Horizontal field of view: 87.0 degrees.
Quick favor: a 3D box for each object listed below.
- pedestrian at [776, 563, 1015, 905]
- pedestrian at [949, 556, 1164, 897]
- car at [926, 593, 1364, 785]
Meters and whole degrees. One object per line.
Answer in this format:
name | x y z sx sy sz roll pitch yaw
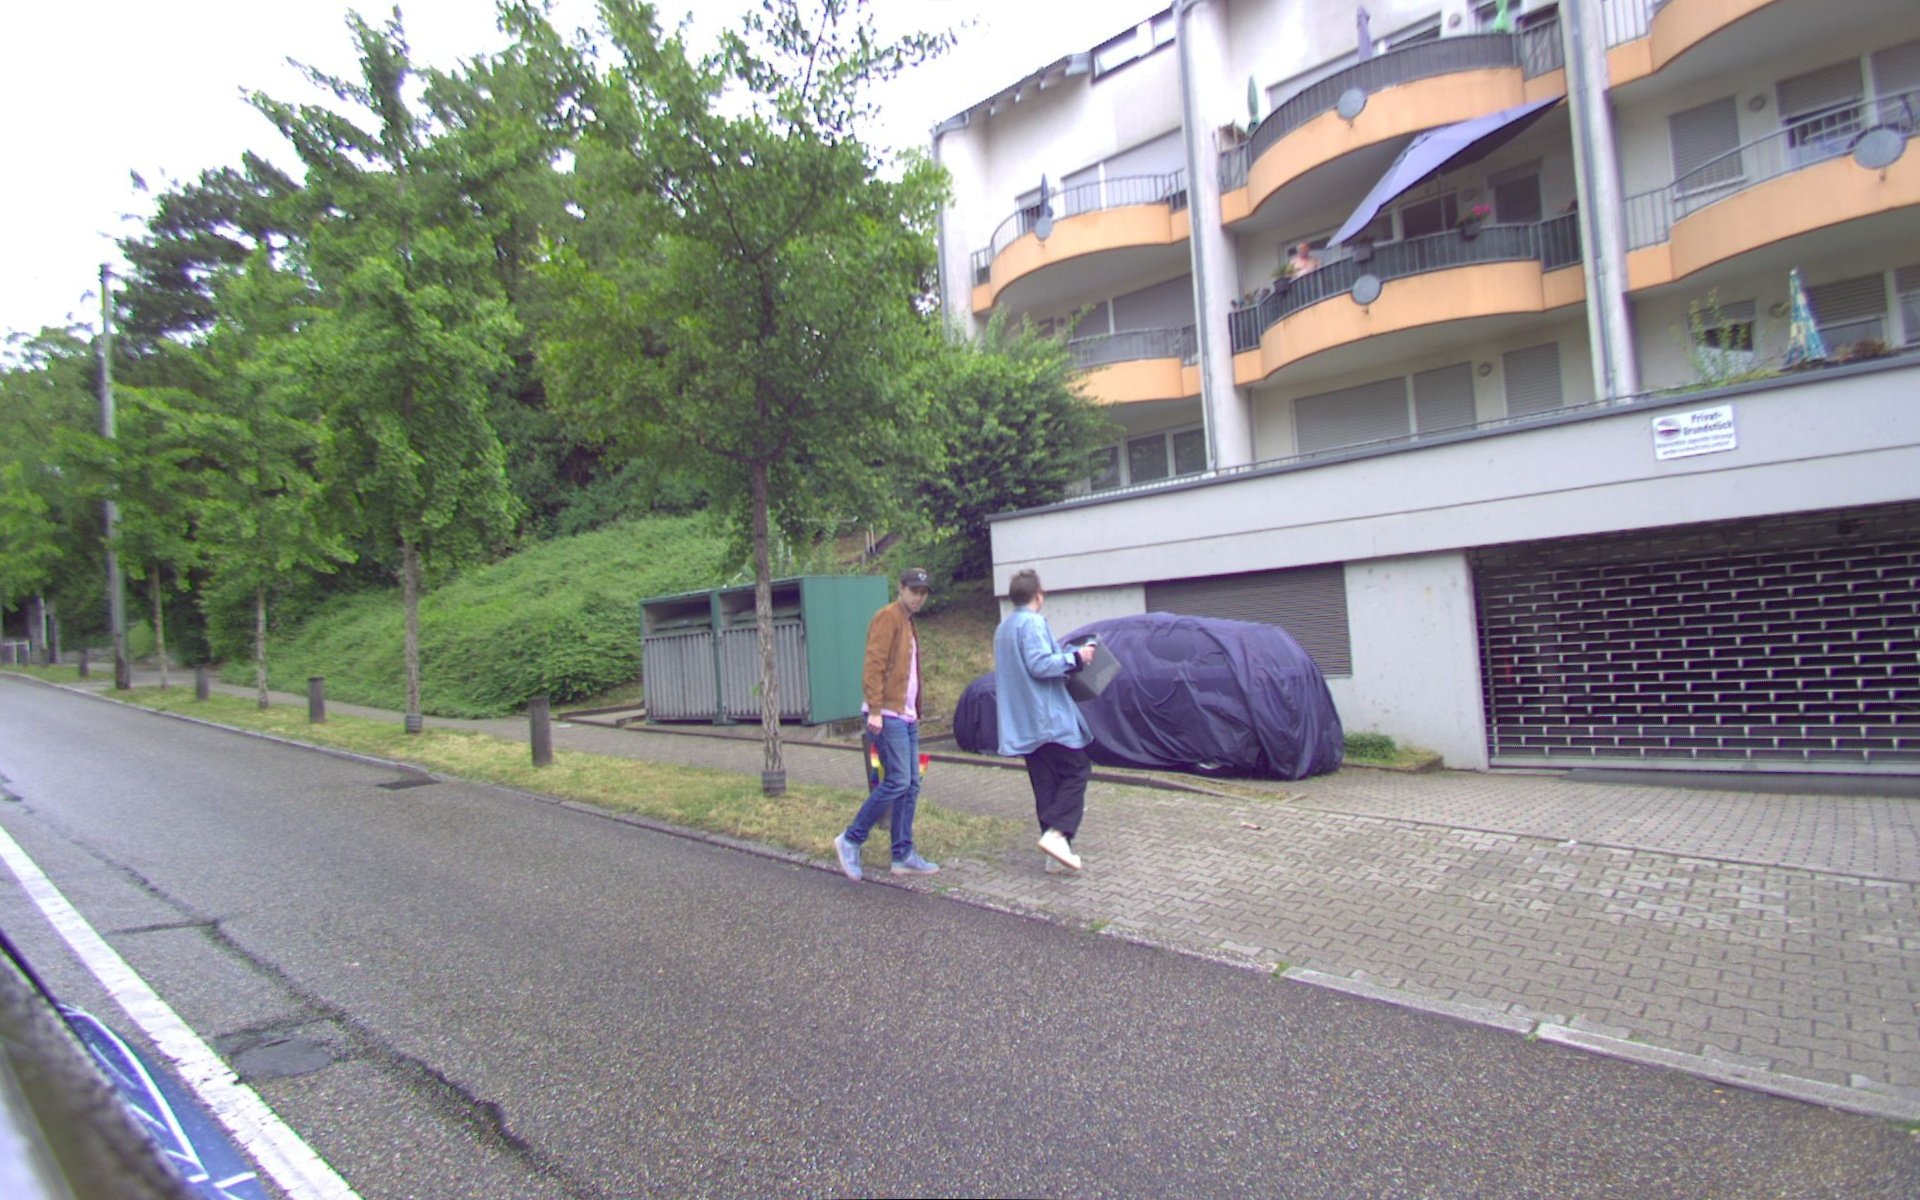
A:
pedestrian | -0.373 0.704 5.946 1.070 1.795 0.815 -1 1 33
pedestrian | 0.598 0.658 6.003 0.822 1.795 1.061 -1 1 33
car | 1.751 0.827 10.350 4.096 1.573 1.759 -2 -5 41
